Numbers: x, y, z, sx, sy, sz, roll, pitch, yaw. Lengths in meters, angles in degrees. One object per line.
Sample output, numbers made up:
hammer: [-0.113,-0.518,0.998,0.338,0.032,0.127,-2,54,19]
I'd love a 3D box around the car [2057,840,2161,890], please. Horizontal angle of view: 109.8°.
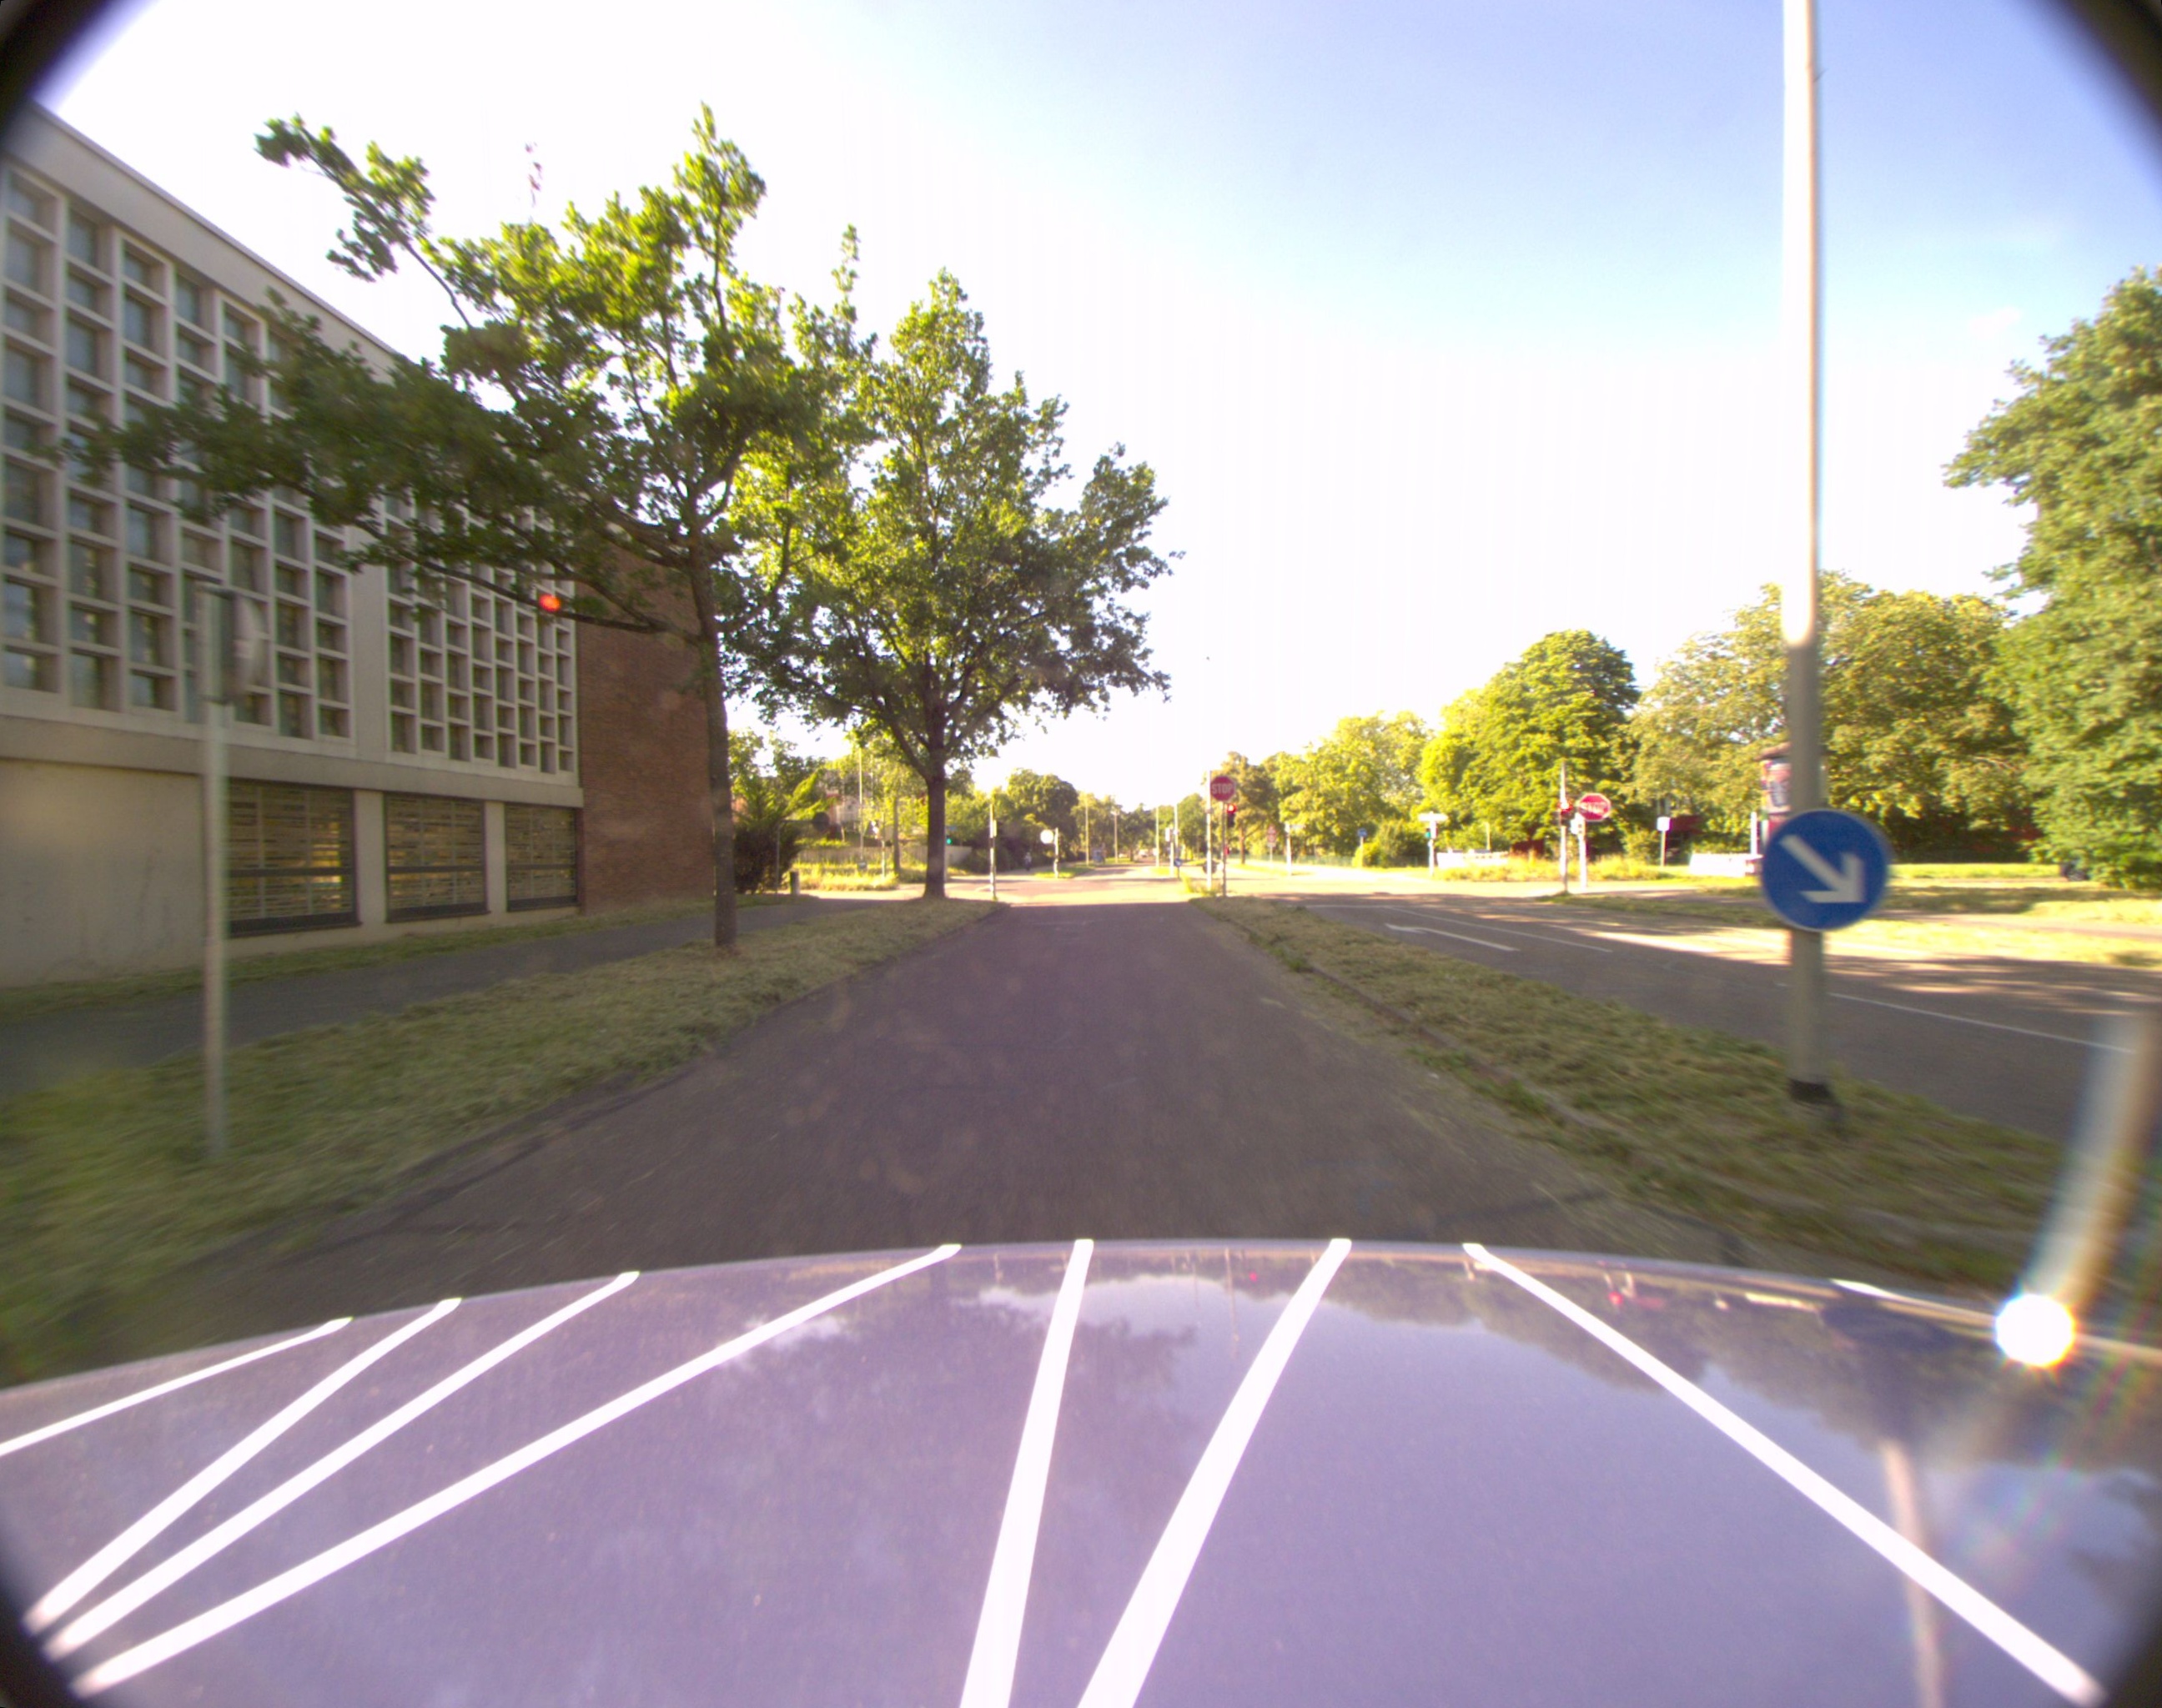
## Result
car: [39.565,0.390,28.007,1.852,1.772,4.517,-1,0,10]
